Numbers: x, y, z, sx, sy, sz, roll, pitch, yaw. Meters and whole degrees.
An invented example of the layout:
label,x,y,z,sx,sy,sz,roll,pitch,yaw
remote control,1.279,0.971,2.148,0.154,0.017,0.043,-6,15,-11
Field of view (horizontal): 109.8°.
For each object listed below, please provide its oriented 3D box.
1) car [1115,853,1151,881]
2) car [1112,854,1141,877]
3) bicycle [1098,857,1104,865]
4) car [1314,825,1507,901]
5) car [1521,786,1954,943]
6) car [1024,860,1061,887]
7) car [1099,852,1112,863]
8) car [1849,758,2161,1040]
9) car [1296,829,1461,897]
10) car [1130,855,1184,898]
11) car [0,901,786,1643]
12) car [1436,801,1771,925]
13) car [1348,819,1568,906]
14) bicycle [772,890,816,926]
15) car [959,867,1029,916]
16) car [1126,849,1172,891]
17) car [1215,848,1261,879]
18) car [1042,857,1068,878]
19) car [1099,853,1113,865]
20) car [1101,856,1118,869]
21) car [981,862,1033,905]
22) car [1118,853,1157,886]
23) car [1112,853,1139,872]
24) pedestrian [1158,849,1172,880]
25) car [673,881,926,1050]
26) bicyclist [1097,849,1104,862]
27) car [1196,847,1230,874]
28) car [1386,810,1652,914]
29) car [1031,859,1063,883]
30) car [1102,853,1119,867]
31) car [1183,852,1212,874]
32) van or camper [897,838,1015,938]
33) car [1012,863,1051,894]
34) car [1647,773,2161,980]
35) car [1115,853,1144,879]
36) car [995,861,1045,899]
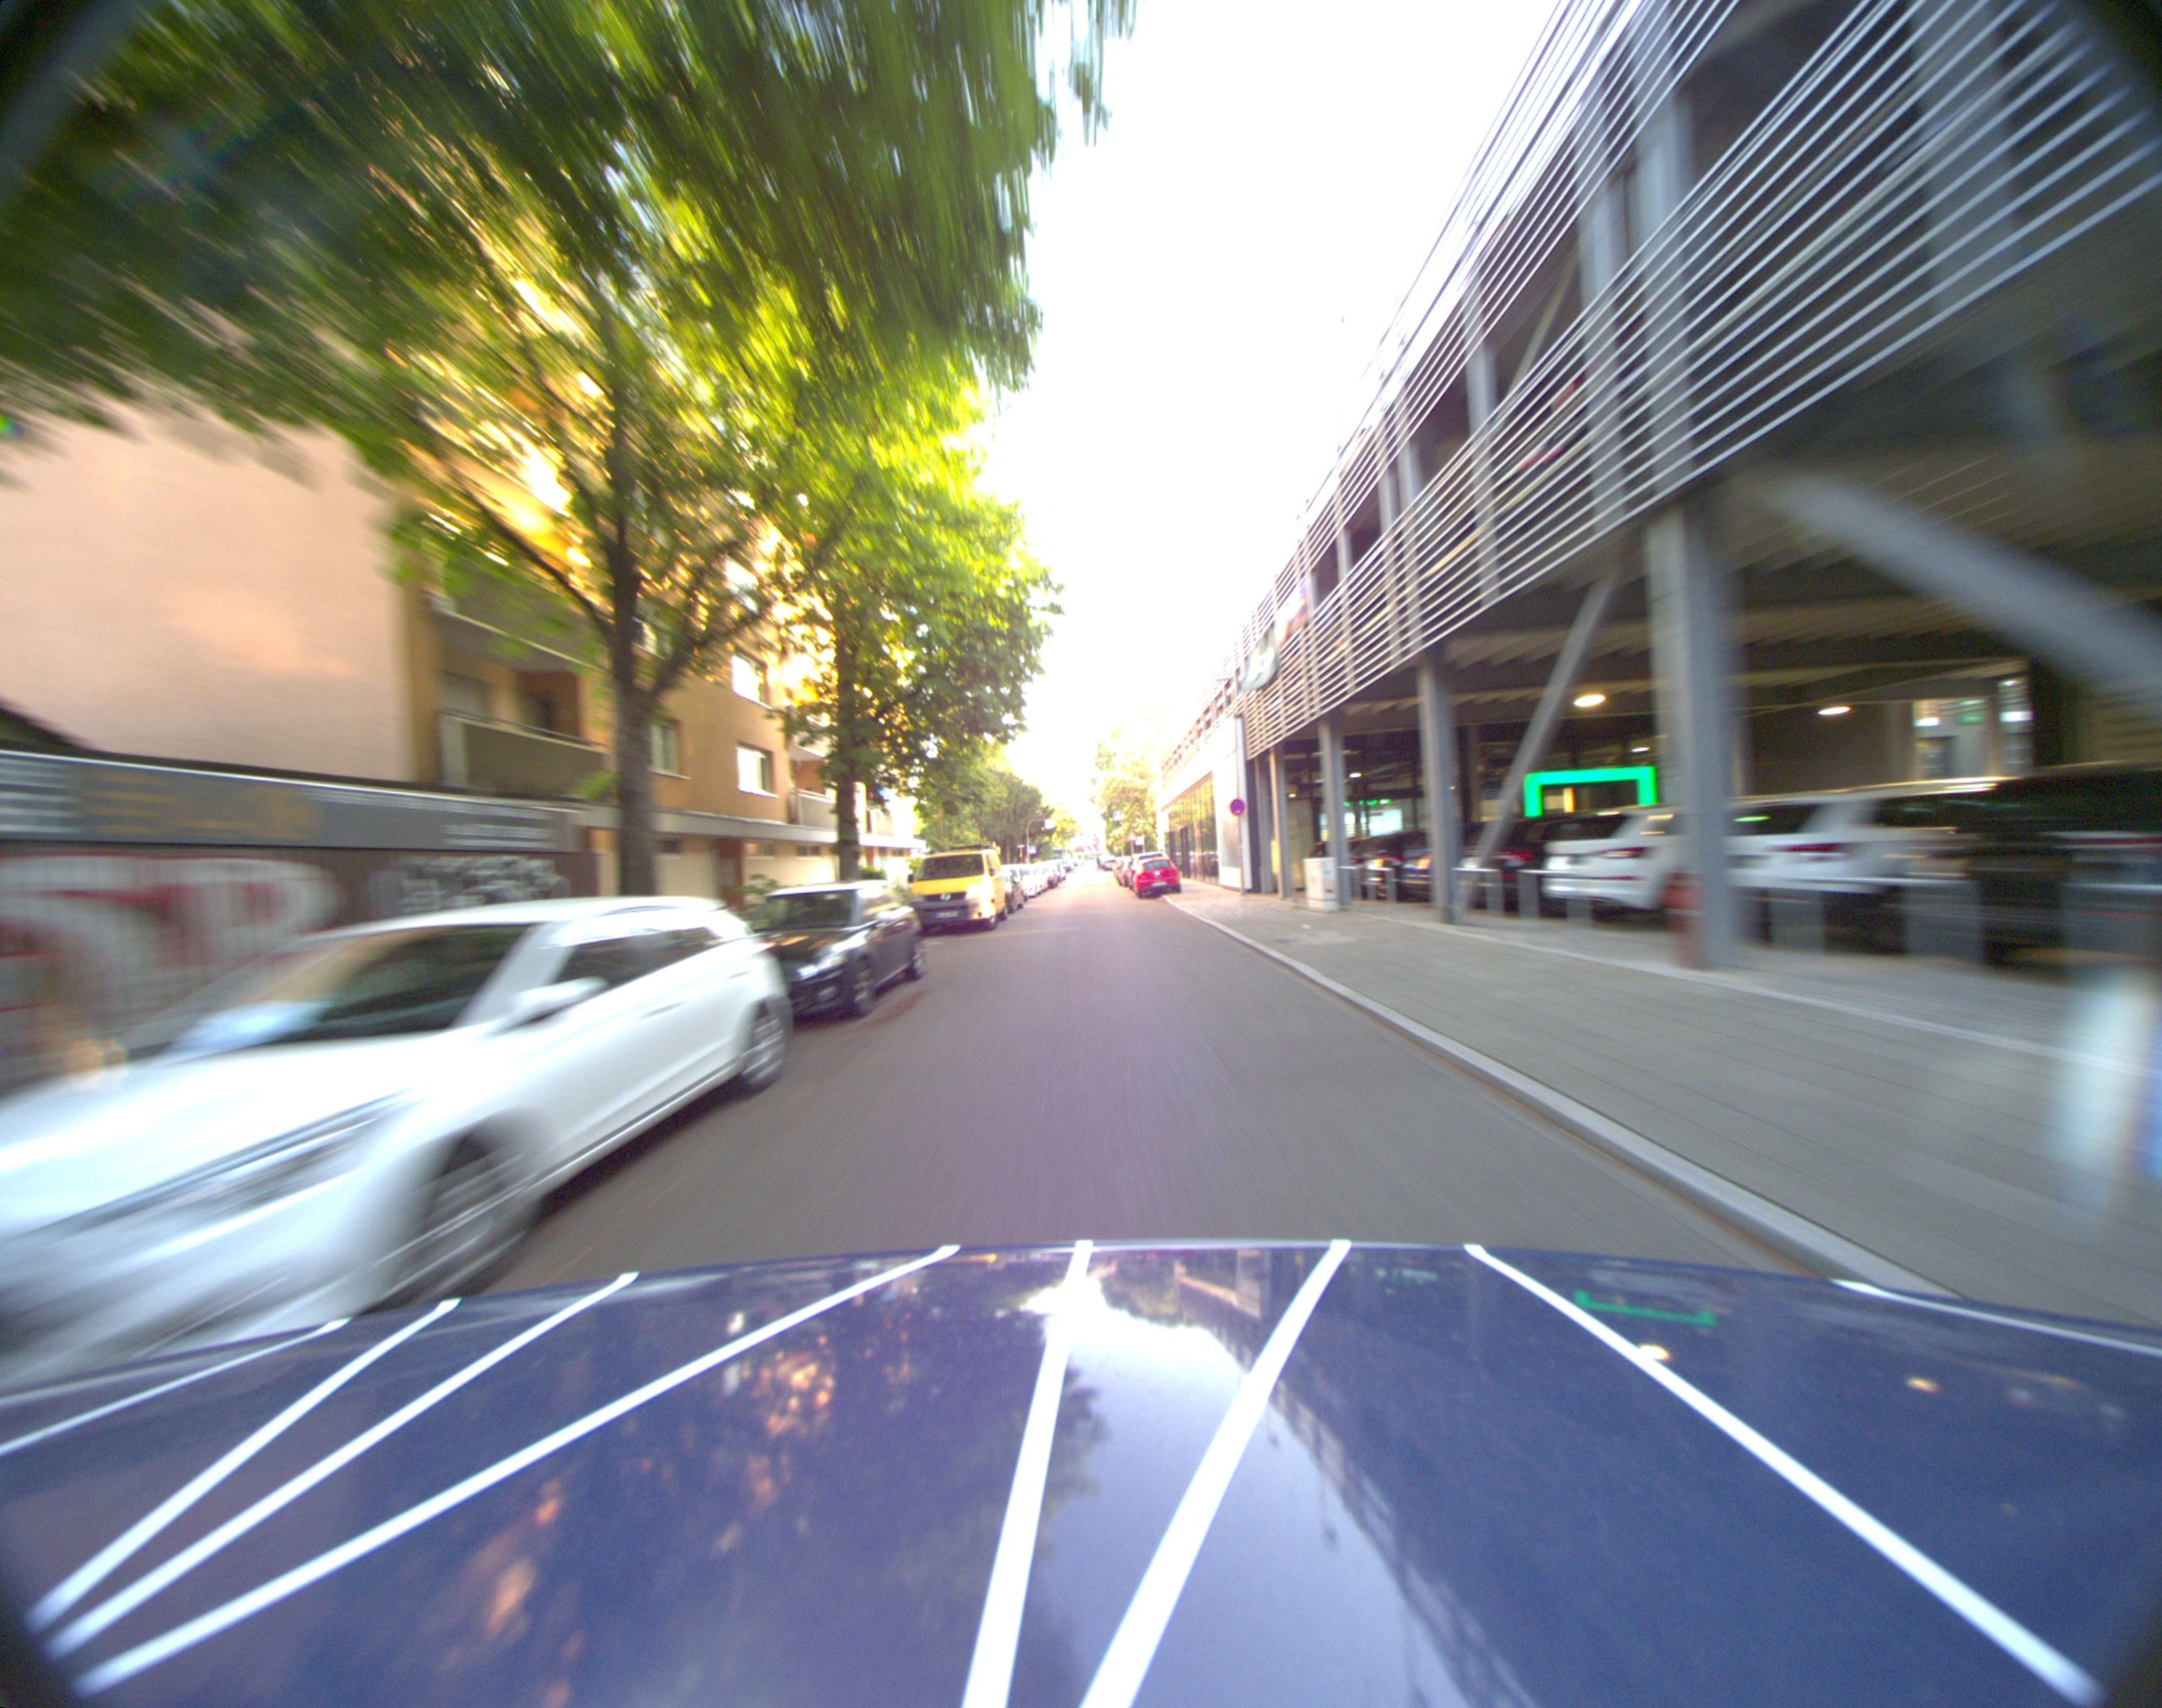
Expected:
label,x,y,z,sx,sy,sz,roll,pitch,yaw
car,3.178,0.769,46.921,1.733,1.394,4.006,-9,0,0
car,3.423,0.870,57.715,1.666,1.402,3.927,-8,0,-2
bicycle,2.826,0.948,108.721,0.761,1.090,1.864,-2,0,-1
car,8.515,0.243,19.924,4.176,1.674,1.860,-3,-1,2
car,8.489,0.150,10.149,4.035,1.674,1.860,-3,-1,2
car,-2.216,1.119,44.731,1.814,1.408,4.626,-3,0,1
car,4.558,0.671,142.572,1.964,1.825,3.884,-9,0,-2
car,8.487,0.165,5.349,4.112,1.674,1.860,-3,-1,2
car,8.620,0.275,22.294,4.052,1.674,1.860,-3,-1,2
car,2.925,0.840,29.811,1.702,1.497,3.791,-3,0,1
car,-3.164,1.128,3.765,1.726,1.510,4.026,-3,-1,0
car,8.437,0.160,12.588,4.159,1.674,1.860,-3,-1,2
car,8.523,0.203,17.473,4.045,1.674,1.860,-3,-1,2
bicycle,-8.233,1.530,21.866,0.524,0.916,1.835,-3,-1,0
car,-2.754,1.184,24.952,1.610,1.373,4.001,-3,-1,2
car,3.064,0.702,35.082,1.702,1.745,4.403,-3,0,1
car,8.557,0.513,41.743,1.701,1.506,3.994,-3,0,1
car,-2.035,1.060,60.343,1.814,1.566,3.885,-3,0,1
car,3.801,0.736,116.349,1.786,1.562,3.884,-9,0,-2
car,3.574,1.082,96.096,1.786,1.442,3.884,-9,0,-2
car,-2.861,1.134,30.021,1.613,1.501,3.478,-3,0,1
car,3.046,0.848,41.596,1.942,1.587,4.206,-3,-1,3
car,3.928,0.754,67.903,1.666,1.505,3.883,-6,-1,-5
pedestrian,5.172,0.645,46.890,0.722,1.867,0.620,-3,0,2
car,-3.006,1.114,8.888,1.567,1.441,3.454,-3,-1,0
bicyclist,2.785,0.278,108.751,0.861,1.797,1.016,-3,0,0
car,8.834,0.451,51.217,1.597,1.640,3.876,-3,0,1
car,8.434,0.167,14.927,4.045,1.674,1.860,-3,-1,2
car,-2.213,1.099,50.781,1.814,1.408,3.896,-3,0,1
car,3.950,0.756,100.765,1.786,1.568,3.884,-9,0,-2
car,8.805,0.684,57.607,1.597,1.513,3.876,-3,0,1
van or camper,-2.972,0.792,19.328,2.069,2.083,5.091,-3,-1,0
car,-2.533,1.224,39.691,1.613,1.452,4.054,-3,0,1
car,8.541,0.193,7.709,4.093,1.674,1.860,-3,-1,2
car,3.244,0.782,51.596,1.665,1.488,3.885,-9,0,2
car,-2.729,1.138,34.717,1.796,1.553,4.194,-3,0,1
